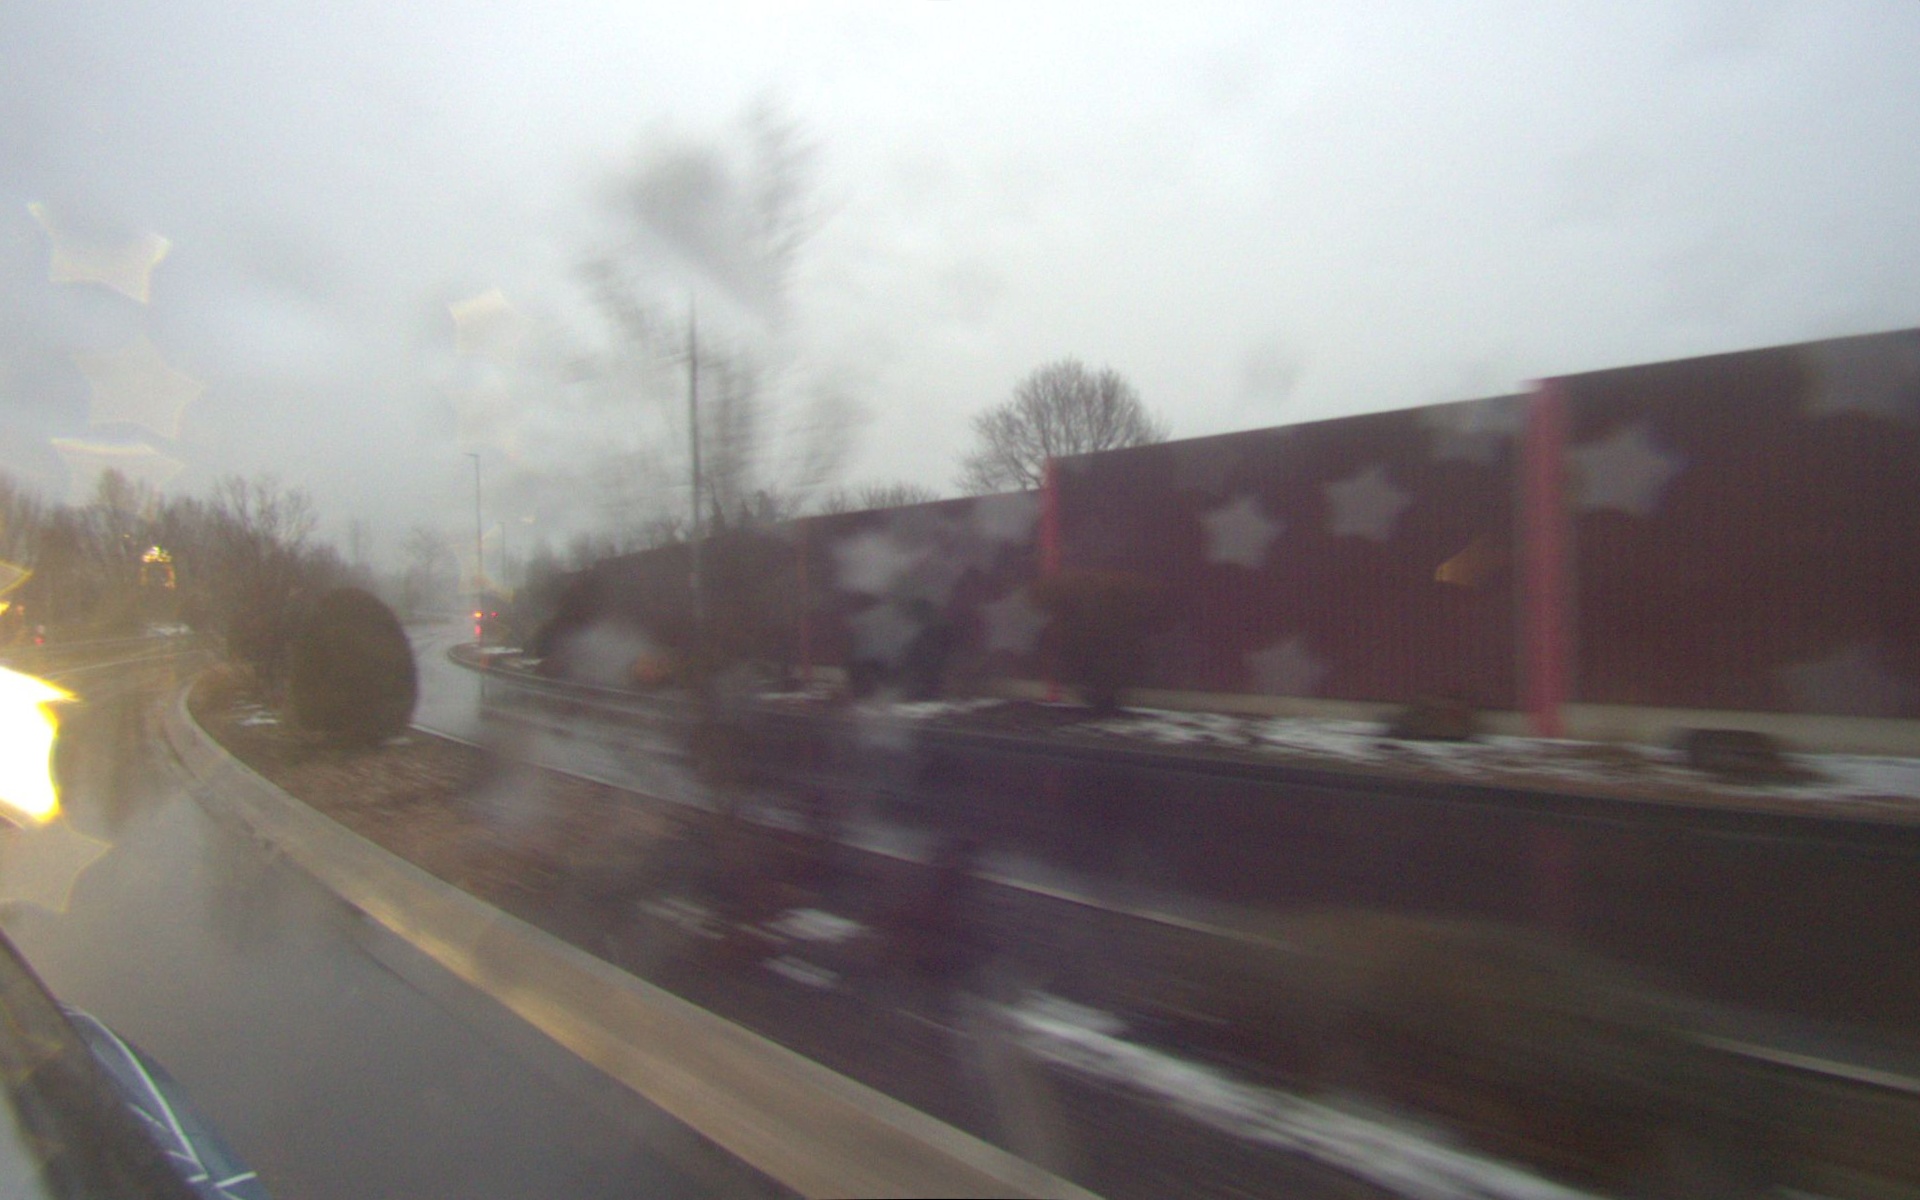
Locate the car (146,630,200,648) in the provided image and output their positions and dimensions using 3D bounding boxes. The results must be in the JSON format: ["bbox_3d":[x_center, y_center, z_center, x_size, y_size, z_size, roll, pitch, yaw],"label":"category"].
[{"bbox_3d":[-75.462,3.722,97.137,3.946,1.609,1.811,0,0,-33],"label":"car"}]

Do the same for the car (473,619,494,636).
[{"bbox_3d":[-48.709,2.785,103.348,1.670,1.590,3.897,-1,0,-29],"label":"car"}]
